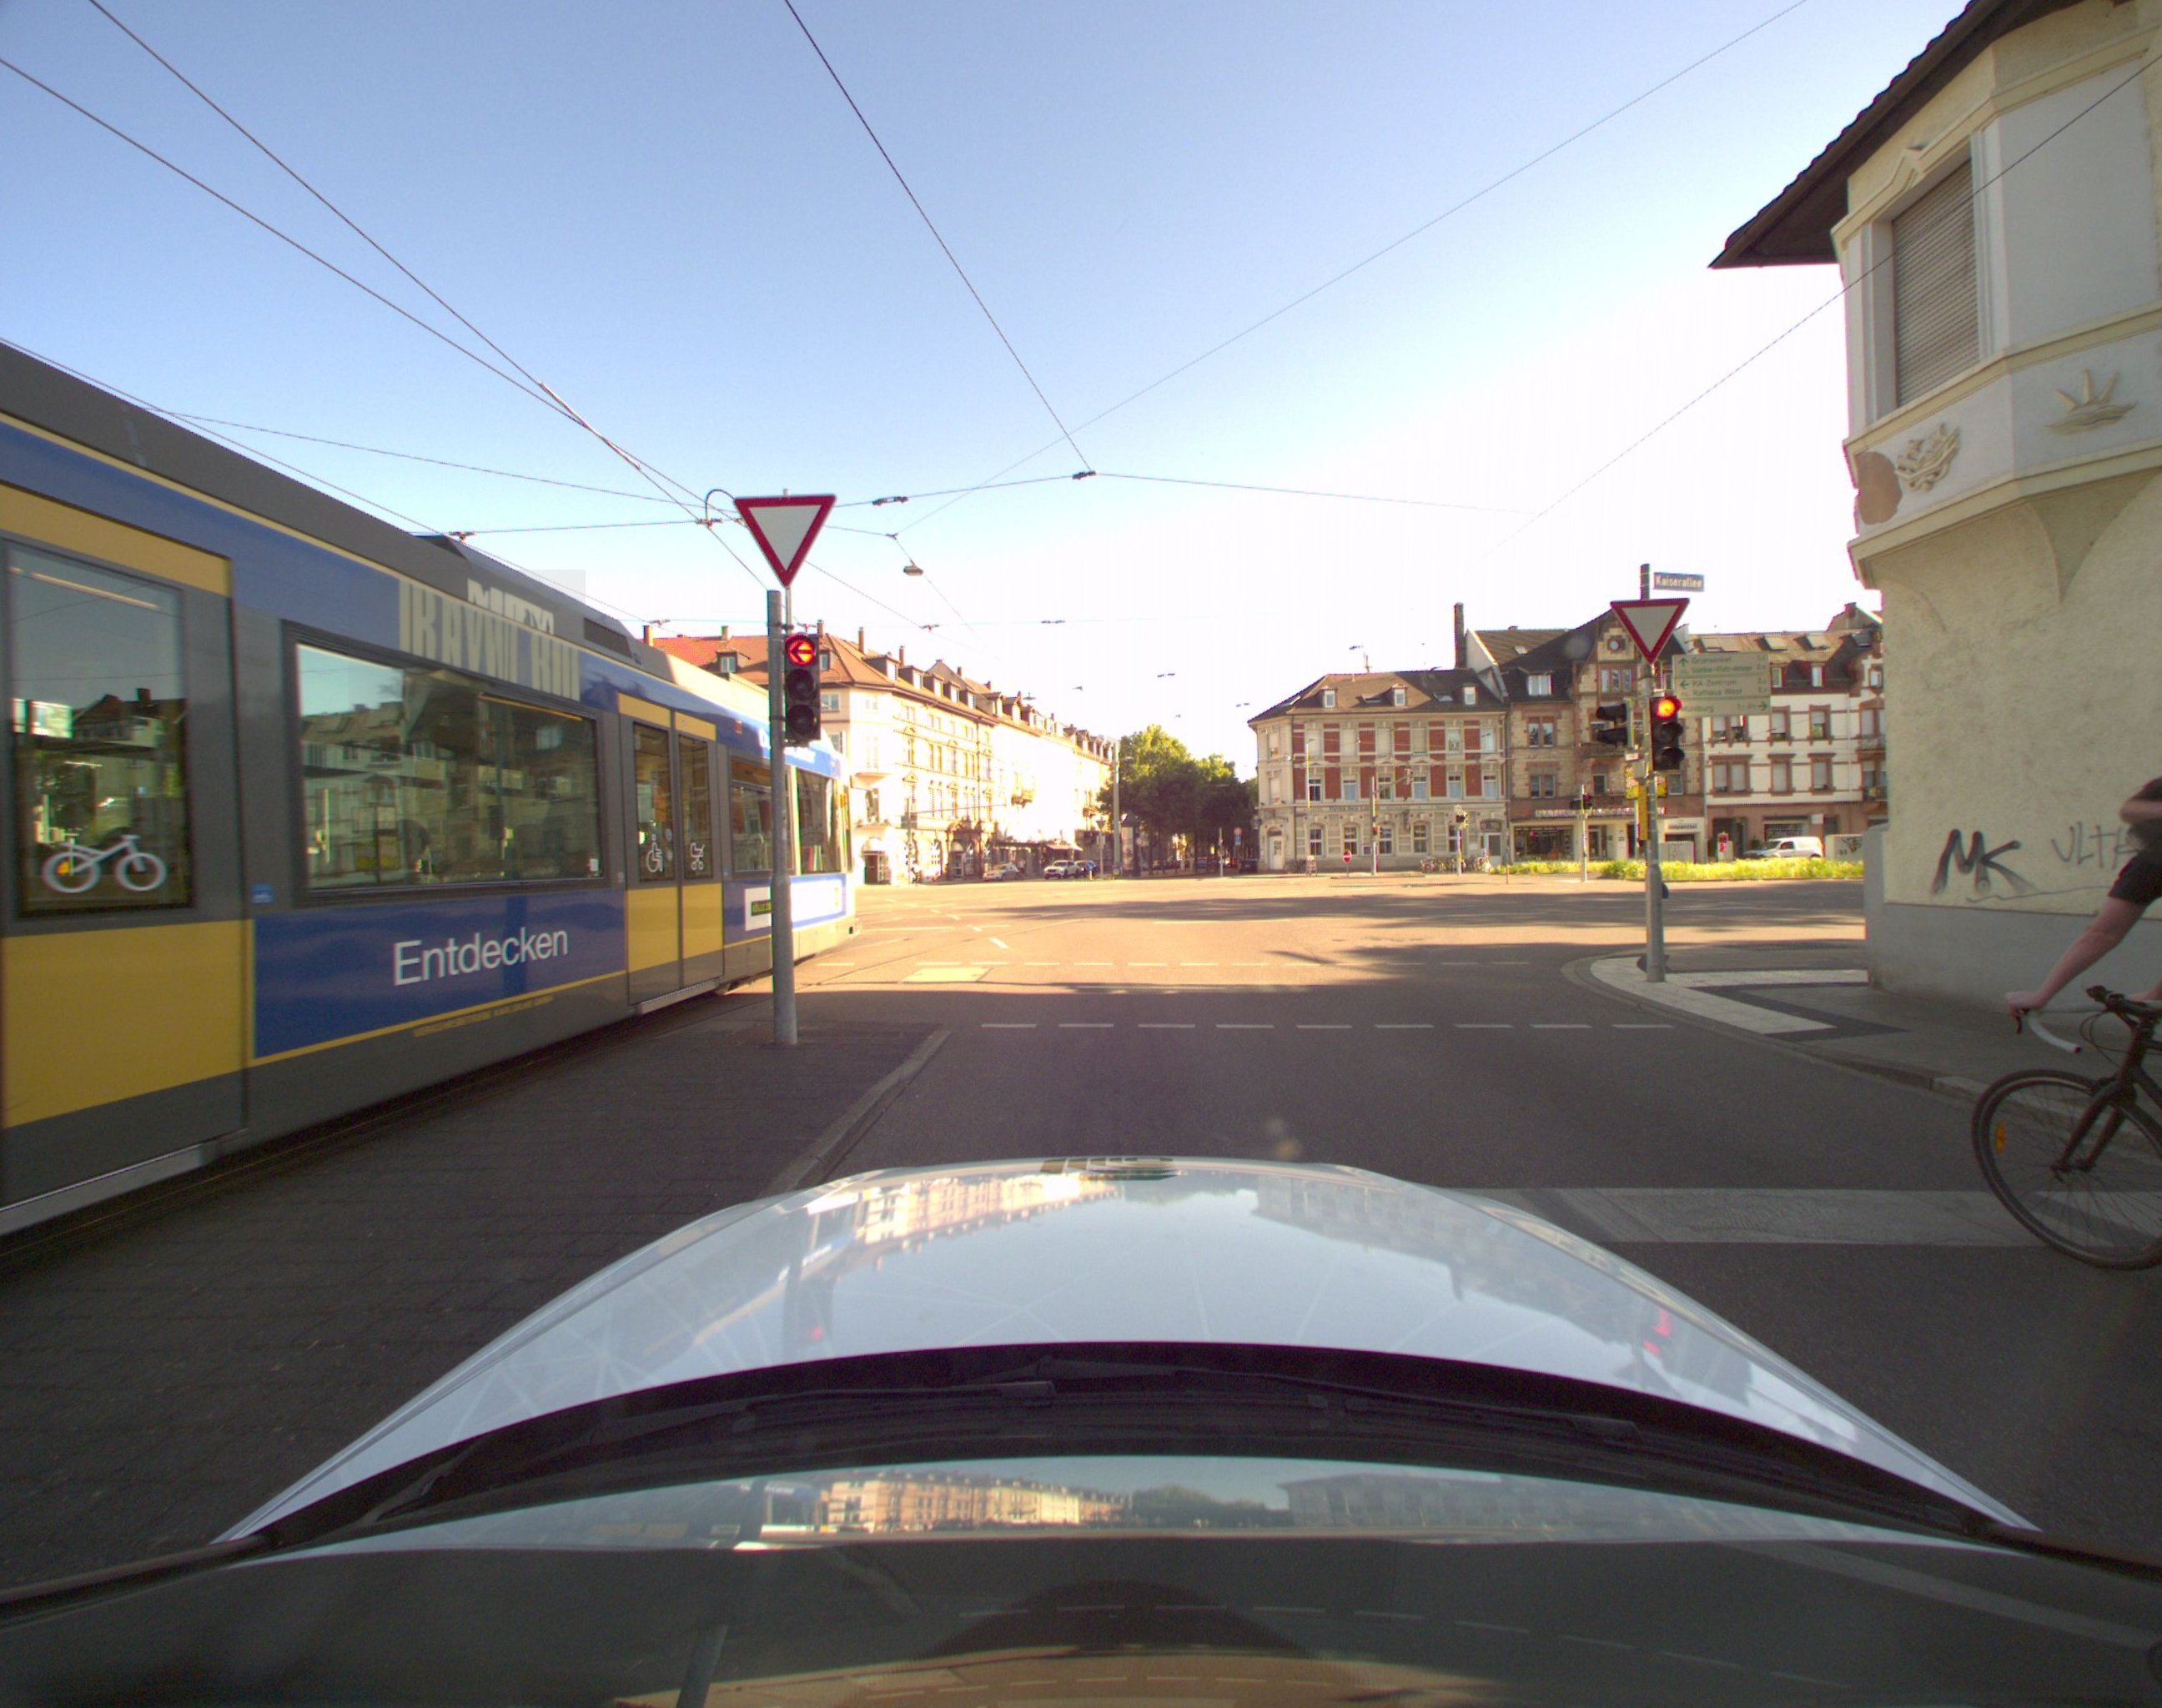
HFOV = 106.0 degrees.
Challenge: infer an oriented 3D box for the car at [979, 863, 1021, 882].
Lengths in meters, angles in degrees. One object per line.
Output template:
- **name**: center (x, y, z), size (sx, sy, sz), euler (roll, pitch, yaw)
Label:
- **car**: center (-6.680, 1.522, 67.375), size (1.883, 1.455, 4.020), euler (-2, 0, 20)

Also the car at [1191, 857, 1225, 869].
- **car**: center (17.982, 1.310, 115.099), size (4.335, 1.612, 2.012), euler (-2, 0, 28)

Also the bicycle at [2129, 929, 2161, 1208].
- **bicycle**: center (4.531, 0.861, 2.438), size (0.516, 1.116, 1.815), euler (-2, 0, 4)

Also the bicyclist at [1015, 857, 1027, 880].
- **bicyclist**: center (-4.810, 1.132, 65.332), size (0.674, 1.820, 1.075), euler (-2, 0, 14)

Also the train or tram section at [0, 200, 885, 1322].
- **train or tram section**: center (-4.615, -0.287, 6.492), size (2.760, 3.499, 12.035), euler (-1, 0, 2)

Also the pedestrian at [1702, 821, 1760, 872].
- **pedestrian**: center (27.113, -0.301, 33.990), size (1.314, 2.044, 1.307), euler (-2, 0, 1)

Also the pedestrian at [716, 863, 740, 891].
- **pedestrian**: center (-23.002, 1.503, 53.098), size (0.998, 1.775, 0.945), euler (-2, 0, 16)

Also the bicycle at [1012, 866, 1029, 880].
- **bicycle**: center (-4.814, 1.513, 65.289), size (0.675, 1.066, 2.133), euler (-2, 0, 14)

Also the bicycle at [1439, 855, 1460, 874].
- **bicycle**: center (23.859, 0.677, 52.776), size (0.615, 1.143, 2.178), euler (-2, 0, 7)

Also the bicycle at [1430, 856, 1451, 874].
- **bicycle**: center (23.280, 0.697, 52.828), size (0.615, 1.143, 2.178), euler (-2, 0, 7)

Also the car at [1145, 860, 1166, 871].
- **car**: center (11.263, 1.733, 122.593), size (1.977, 1.612, 4.413), euler (-2, 0, 20)

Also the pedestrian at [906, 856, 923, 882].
- **pedestrian**: center (-11.380, 1.050, 55.717), size (1.046, 1.744, 0.806), euler (-1, 0, -10)

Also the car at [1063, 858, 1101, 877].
- **car**: center (0.121, 1.219, 74.009), size (1.977, 1.612, 4.413), euler (-2, 0, 20)

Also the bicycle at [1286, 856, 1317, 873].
- **bicycle**: center (15.502, 0.727, 57.181), size (2.081, 1.124, 0.366), euler (0, -1, -3)

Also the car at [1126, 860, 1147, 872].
- **car**: center (7.541, 1.670, 110.973), size (1.978, 1.486, 4.017), euler (-1, 0, 16)

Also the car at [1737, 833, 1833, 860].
- **car**: center (45.360, -0.472, 52.544), size (4.317, 1.640, 2.152), euler (-2, 0, 1)

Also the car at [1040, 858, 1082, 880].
- **car**: center (-1.605, 1.252, 67.532), size (1.977, 1.684, 4.413), euler (-2, 0, 20)

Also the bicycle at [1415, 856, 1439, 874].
- **bicycle**: center (22.501, 0.706, 52.978), size (0.802, 1.143, 2.178), euler (-2, 0, 7)

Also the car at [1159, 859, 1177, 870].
- **car**: center (13.922, 1.703, 130.324), size (1.822, 1.552, 4.412), euler (-2, 0, 19)

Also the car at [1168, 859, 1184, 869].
- **car**: center (15.840, 1.723, 136.159), size (1.750, 1.549, 4.411), euler (-2, 0, 18)

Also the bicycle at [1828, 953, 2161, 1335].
- **bicycle**: center (3.611, 0.952, 2.663), size (0.642, 1.010, 1.930), euler (-2, 0, 4)

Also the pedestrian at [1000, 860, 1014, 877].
- **pedestrian**: center (-6.997, 1.359, 77.012), size (0.921, 1.535, 1.142), euler (-2, 0, 16)

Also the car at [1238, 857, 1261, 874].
- **car**: center (17.020, 1.144, 82.208), size (1.978, 1.585, 4.017), euler (-2, 0, 16)

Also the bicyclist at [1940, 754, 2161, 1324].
- **bicyclist**: center (3.596, 0.564, 2.586), size (0.559, 1.754, 1.102), euler (-2, 0, 4)

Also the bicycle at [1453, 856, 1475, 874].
- **bicycle**: center (24.780, 0.715, 52.680), size (0.615, 1.143, 2.178), euler (-2, 0, 7)

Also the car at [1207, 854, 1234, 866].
- **car**: center (22.841, 0.974, 133.294), size (3.948, 1.706, 2.013), euler (-2, 0, 32)

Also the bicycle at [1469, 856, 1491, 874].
- **bicycle**: center (25.757, 0.695, 52.590), size (0.606, 1.136, 2.139), euler (-2, 0, 7)
